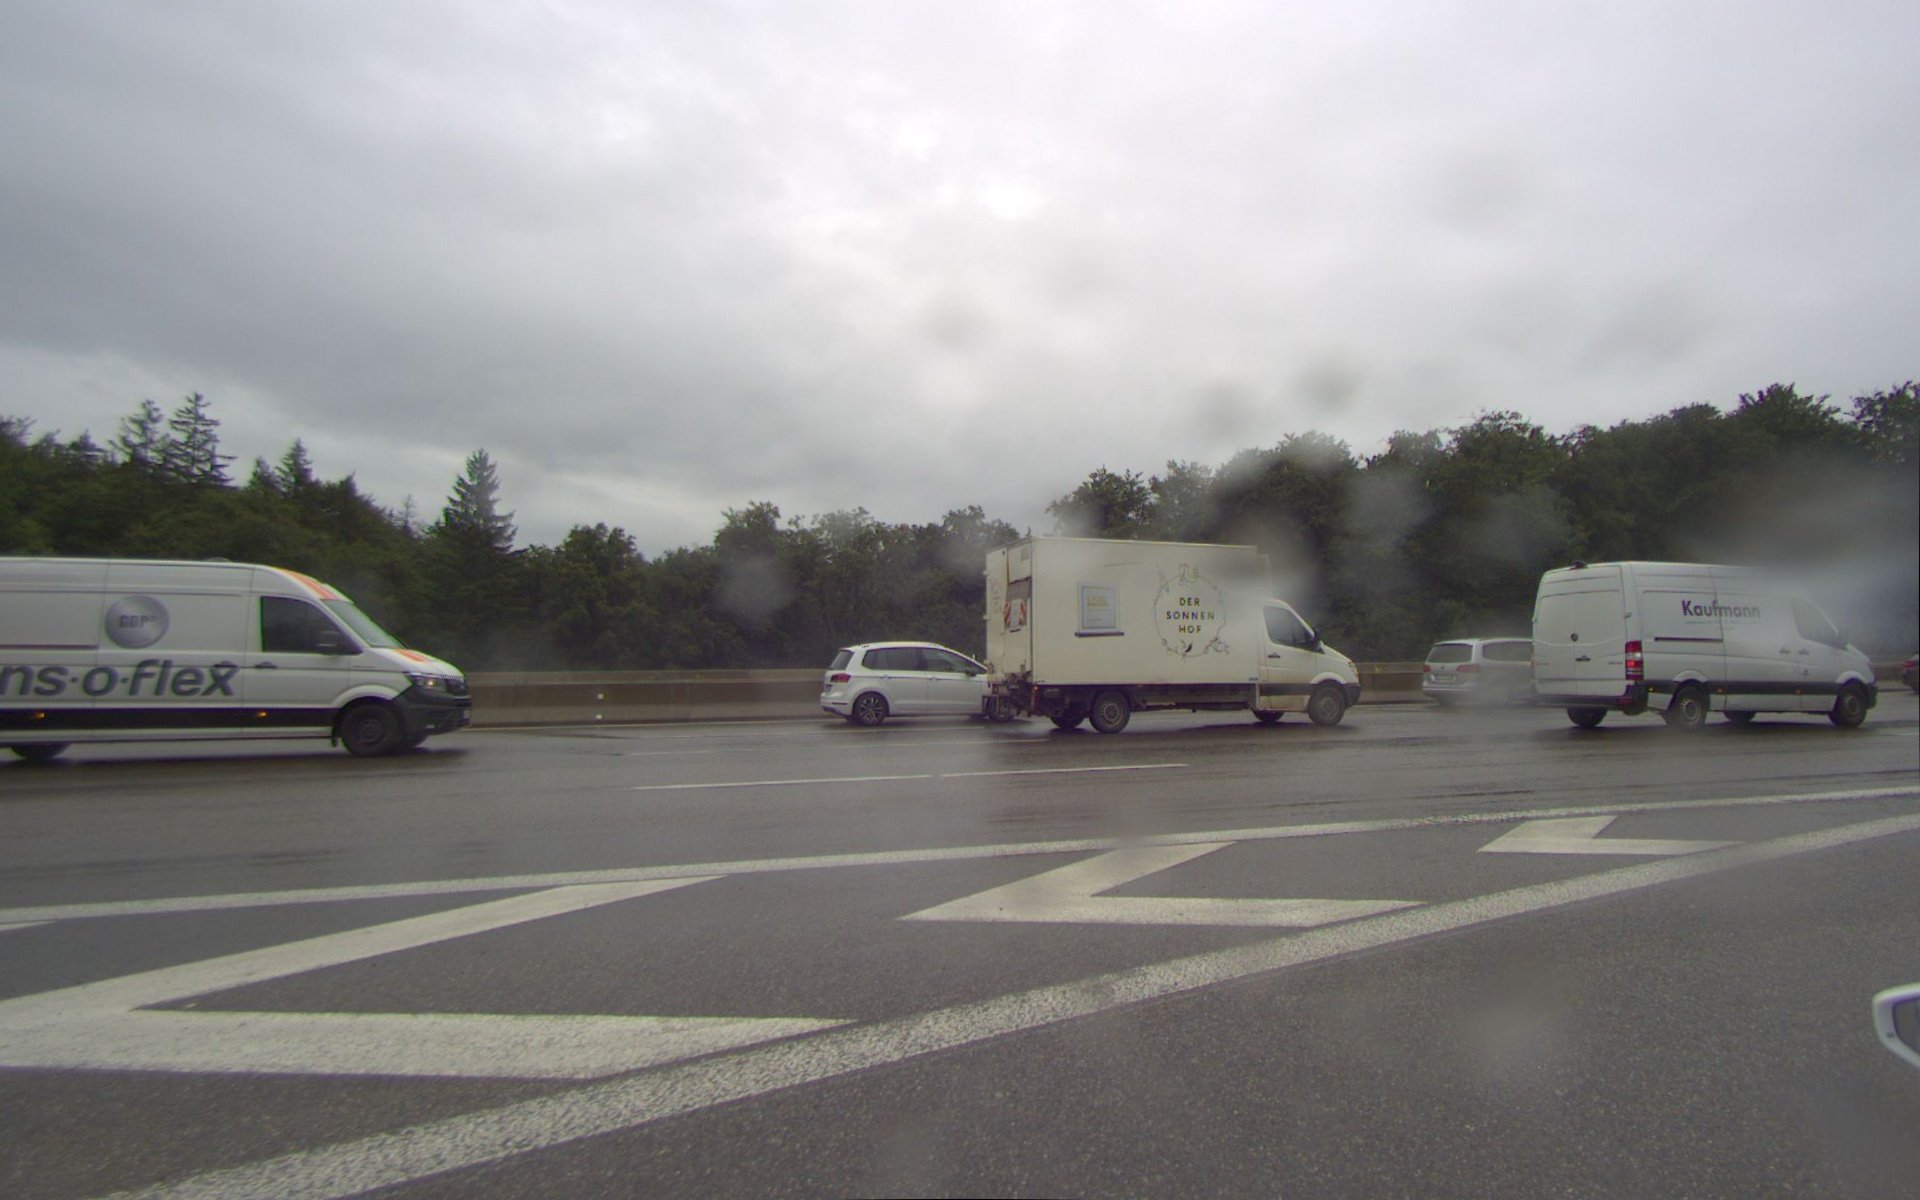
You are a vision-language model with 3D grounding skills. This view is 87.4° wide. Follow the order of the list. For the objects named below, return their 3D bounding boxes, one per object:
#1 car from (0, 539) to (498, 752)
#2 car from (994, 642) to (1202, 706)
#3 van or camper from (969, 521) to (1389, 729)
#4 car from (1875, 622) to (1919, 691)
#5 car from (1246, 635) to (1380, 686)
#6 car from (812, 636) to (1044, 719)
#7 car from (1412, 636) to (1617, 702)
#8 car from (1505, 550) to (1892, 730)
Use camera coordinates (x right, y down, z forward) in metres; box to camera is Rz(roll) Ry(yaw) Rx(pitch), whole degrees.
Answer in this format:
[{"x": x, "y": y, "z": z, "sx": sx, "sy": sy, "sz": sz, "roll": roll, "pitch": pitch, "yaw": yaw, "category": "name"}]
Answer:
[{"x": -10.315, "y": 0.608, "z": 13.388, "sx": 7.246, "sy": 2.520, "sz": 2.148, "roll": 1, "pitch": -2, "yaw": -17, "category": "car"}, {"x": 3.352, "y": 1.778, "z": 24.456, "sx": 4.755, "sy": 1.443, "sz": 1.744, "roll": 1, "pitch": -2, "yaw": -17, "category": "car"}, {"x": 3.896, "y": 0.512, "z": 17.999, "sx": 7.017, "sy": 3.246, "sz": 2.578, "roll": 1, "pitch": -2, "yaw": -18, "category": "van or camper"}, {"x": 30.682, "y": 1.805, "z": 31.006, "sx": 3.936, "sy": 2.040, "sz": 1.796, "roll": 3, "pitch": 1, "yaw": -18, "category": "car"}, {"x": 12.588, "y": 2.151, "z": 35.882, "sx": 4.199, "sy": 1.718, "sz": 1.992, "roll": 1, "pitch": -3, "yaw": -19, "category": "car"}, {"x": -0.650, "y": 1.512, "z": 19.970, "sx": 4.343, "sy": 1.542, "sz": 1.615, "roll": 1, "pitch": -2, "yaw": -17, "category": "car"}, {"x": 13.845, "y": 1.708, "z": 25.113, "sx": 4.556, "sy": 1.542, "sz": 1.866, "roll": 1, "pitch": -2, "yaw": -17, "category": "car"}, {"x": 12.287, "y": 0.699, "z": 16.776, "sx": 5.749, "sy": 2.664, "sz": 2.215, "roll": 1, "pitch": -2, "yaw": -17, "category": "car"}]
